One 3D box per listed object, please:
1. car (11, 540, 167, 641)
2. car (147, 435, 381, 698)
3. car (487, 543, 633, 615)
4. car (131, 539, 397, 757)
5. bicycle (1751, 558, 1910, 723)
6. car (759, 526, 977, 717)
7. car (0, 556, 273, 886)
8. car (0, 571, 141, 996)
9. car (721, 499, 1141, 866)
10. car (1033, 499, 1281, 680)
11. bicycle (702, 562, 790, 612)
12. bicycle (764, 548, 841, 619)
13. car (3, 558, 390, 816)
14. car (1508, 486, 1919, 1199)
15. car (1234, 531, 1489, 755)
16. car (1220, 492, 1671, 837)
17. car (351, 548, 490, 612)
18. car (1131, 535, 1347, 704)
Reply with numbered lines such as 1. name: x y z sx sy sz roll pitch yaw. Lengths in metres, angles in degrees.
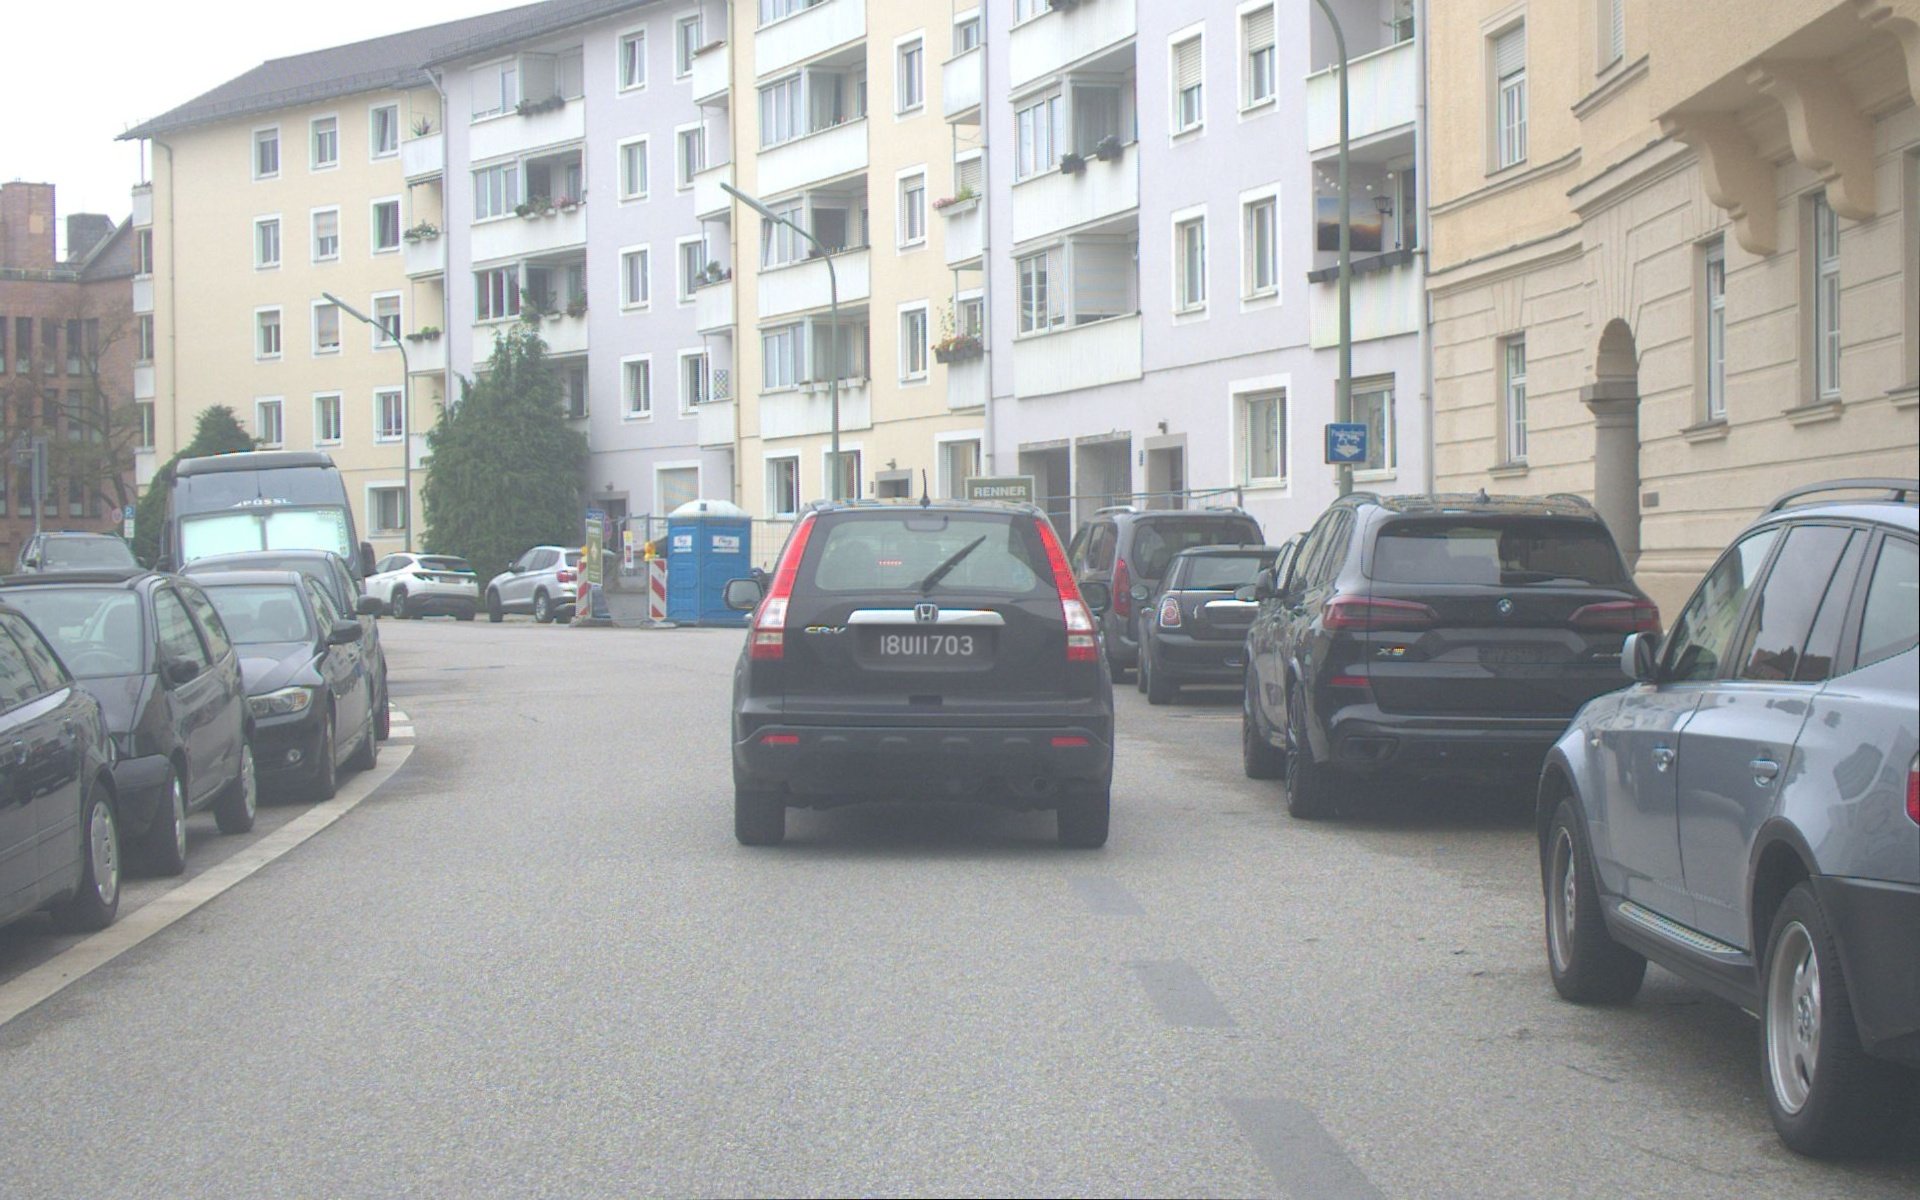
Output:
1. car: -15.276 -0.195 60.153 1.679 1.701 4.514 -1 1 -27
2. car: -7.802 -0.408 38.105 2.163 2.632 6.019 -2 1 -14
3. car: -8.570 -0.461 73.398 1.724 1.478 4.001 0 1 -28
4. car: -5.243 0.320 26.191 1.670 1.497 2.978 -2 1 -6
5. bicycle: 6.181 0.267 24.502 0.579 1.079 1.953 -3 1 0
6. car: -0.802 0.137 28.646 1.679 1.476 4.087 0 1 -3
7. car: -4.524 0.542 17.155 1.656 1.448 3.313 -2 1 -3
8. car: -4.230 0.672 12.100 1.755 1.448 4.396 -2 1 -2
9. car: -0.255 0.343 17.483 1.890 1.642 3.992 0 1 -4
10. car: 2.039 -0.140 36.839 1.777 1.800 4.277 1 1 -9
11. bicycle: -4.745 -0.296 76.307 1.865 1.087 0.566 0 1 -22
12. bicycle: -3.159 -0.336 68.606 0.968 1.384 2.564 0 1 -16
13. car: -4.755 0.469 21.986 1.799 1.401 4.456 -2 1 -5
14. car: 2.798 0.534 9.704 1.722 1.628 4.458 0 1 -1
15. car: 2.894 0.277 25.295 1.535 1.518 3.110 1 1 1
16. car: 2.637 0.294 19.817 1.869 1.711 4.866 1 1 0
17. car: -12.937 -0.488 82.288 1.724 1.478 4.000 0 1 -34
18. car: 2.524 0.146 31.835 1.708 1.442 3.830 1 1 1
